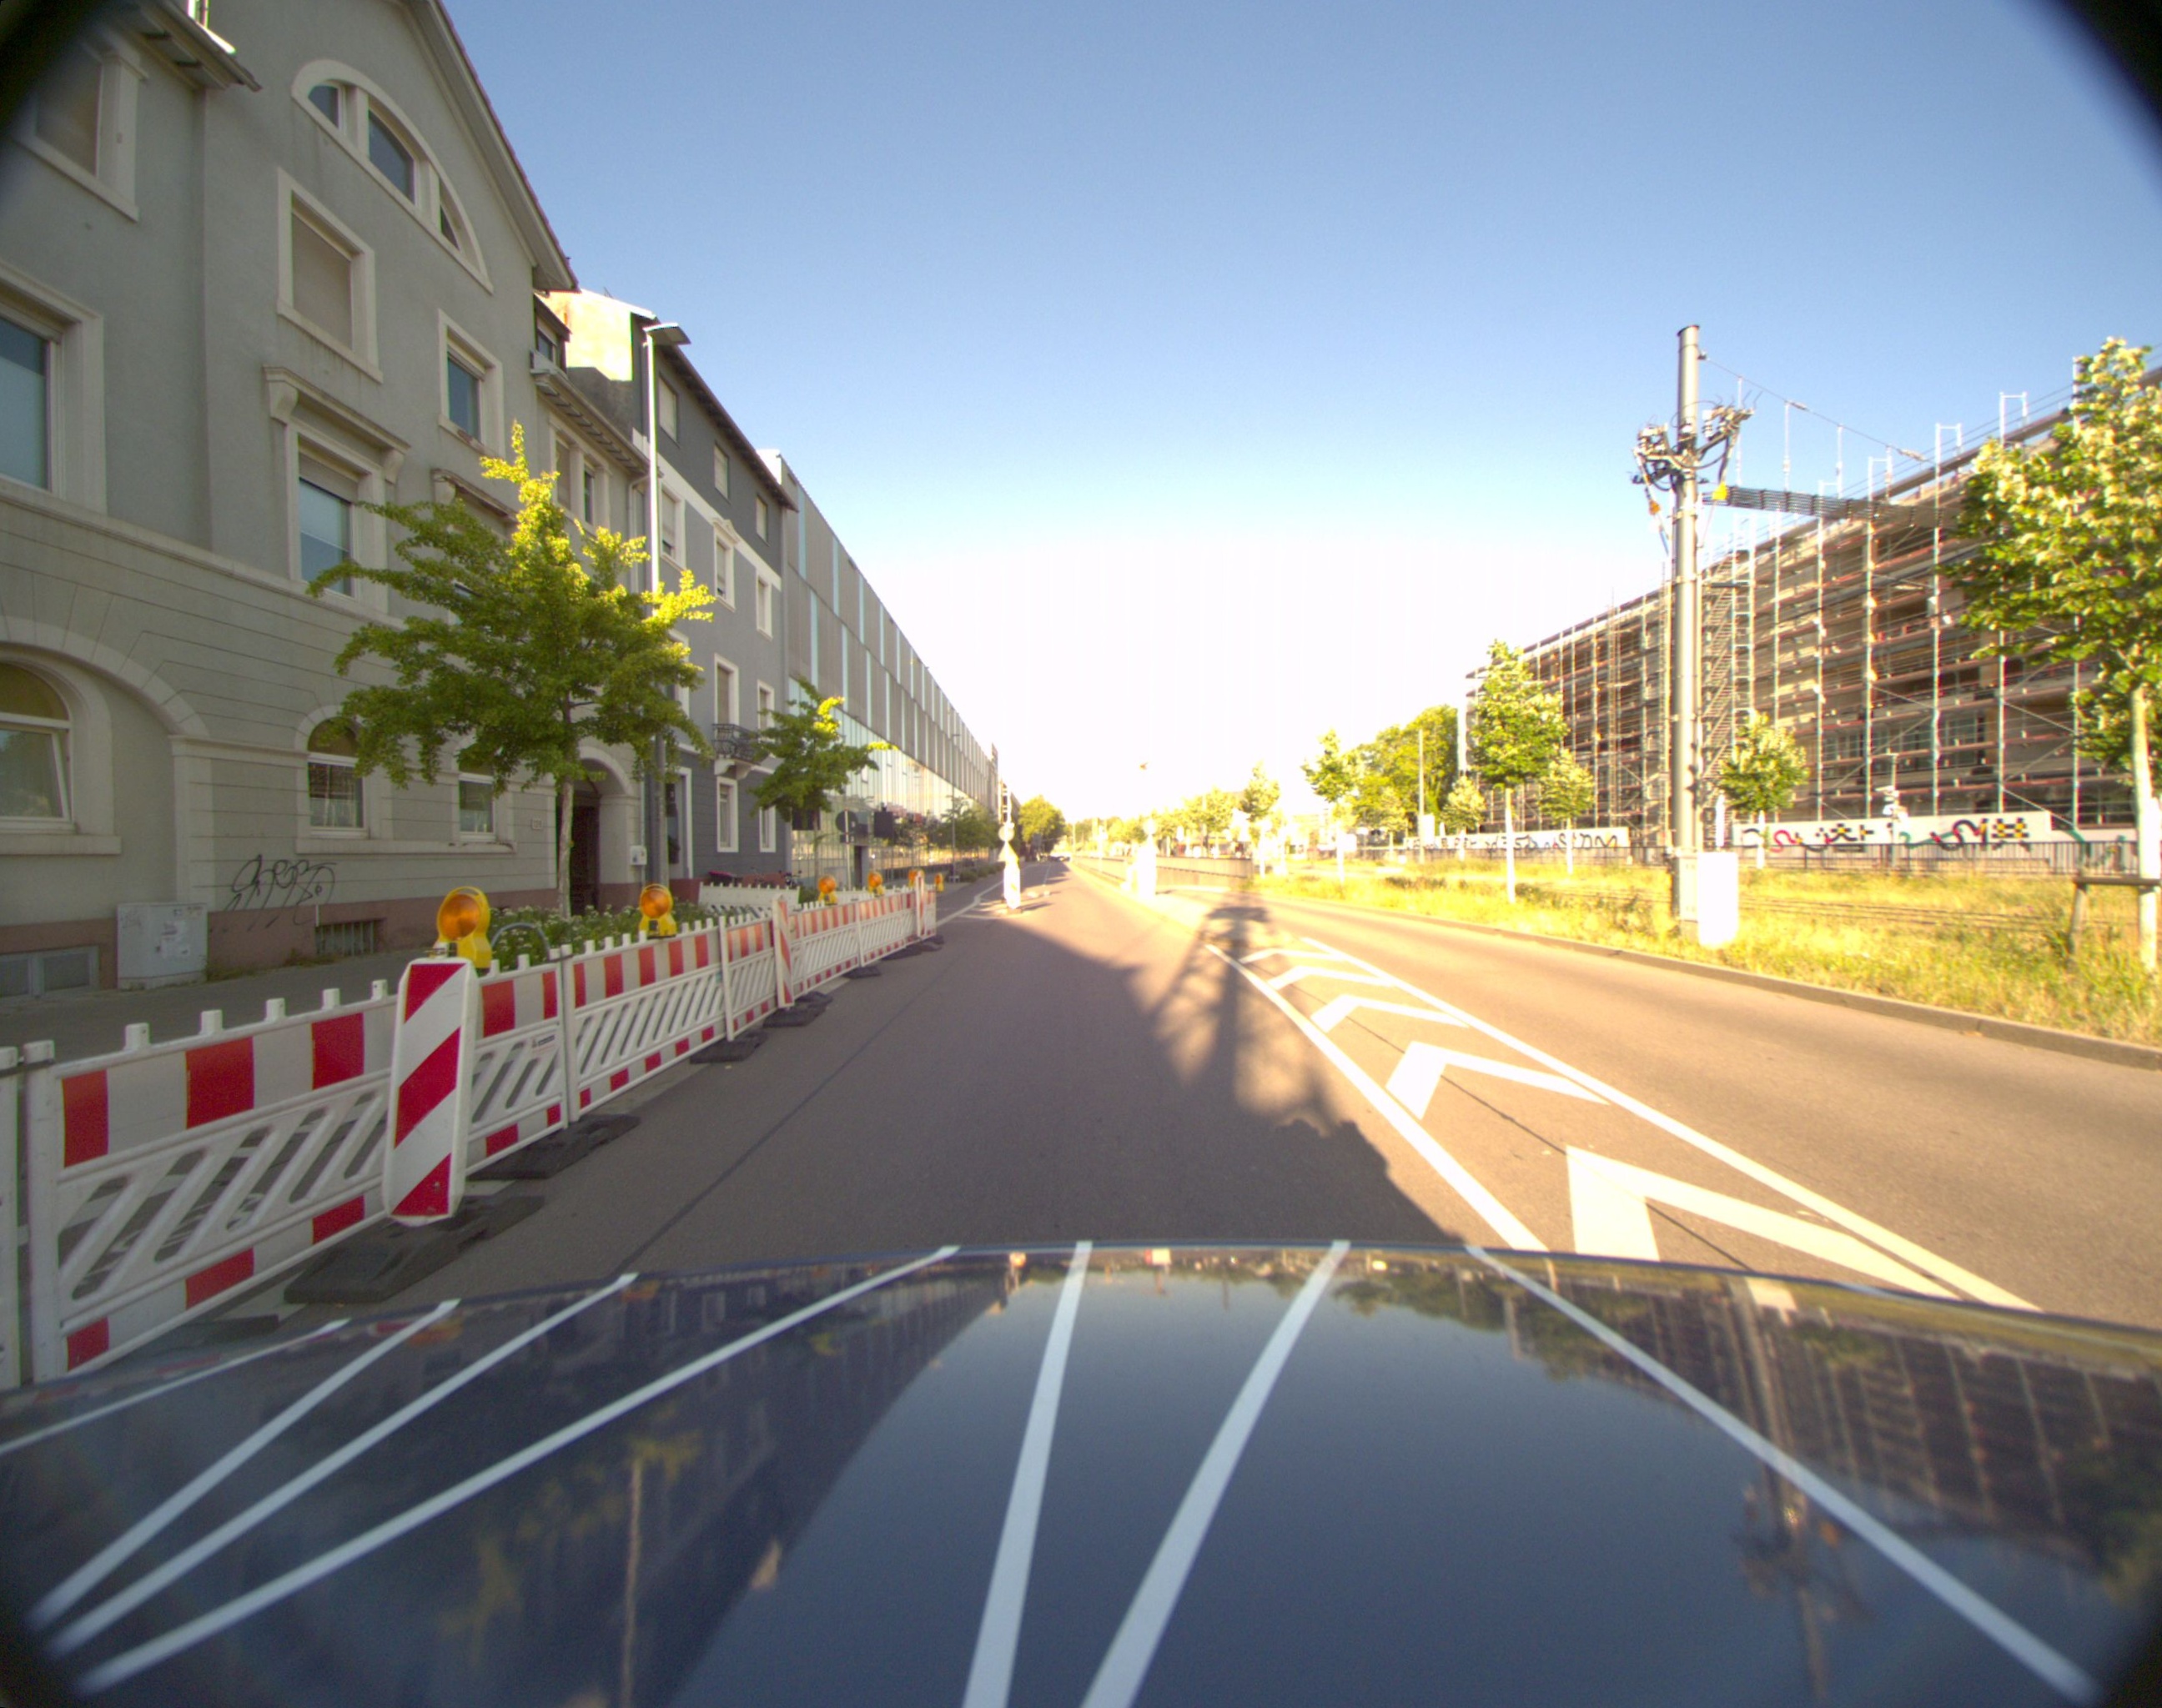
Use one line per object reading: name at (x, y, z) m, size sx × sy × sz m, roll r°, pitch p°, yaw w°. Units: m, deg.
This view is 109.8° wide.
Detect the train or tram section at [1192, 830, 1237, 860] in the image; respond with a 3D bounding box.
train or tram section at (16.367, -1.062, 94.257) m, size 2.954 × 3.378 × 12.630 m, roll -2°, pitch 1°, yaw -2°

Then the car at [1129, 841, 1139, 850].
car at (11.065, -1.726, 158.922) m, size 1.998 × 1.740 × 3.999 m, roll -2°, pitch 1°, yaw 1°

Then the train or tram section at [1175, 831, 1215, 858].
train or tram section at (16.001, -1.317, 107.911) m, size 2.954 × 3.378 × 14.761 m, roll -2°, pitch 1°, yaw -2°

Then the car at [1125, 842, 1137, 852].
car at (8.880, -1.232, 135.417) m, size 1.998 × 1.740 × 3.999 m, roll -2°, pitch 1°, yaw 1°

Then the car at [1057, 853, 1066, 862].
car at (-4.795, 0.810, 187.290) m, size 1.941 × 2.002 × 3.825 m, roll -1°, pitch 0°, yaw -3°
